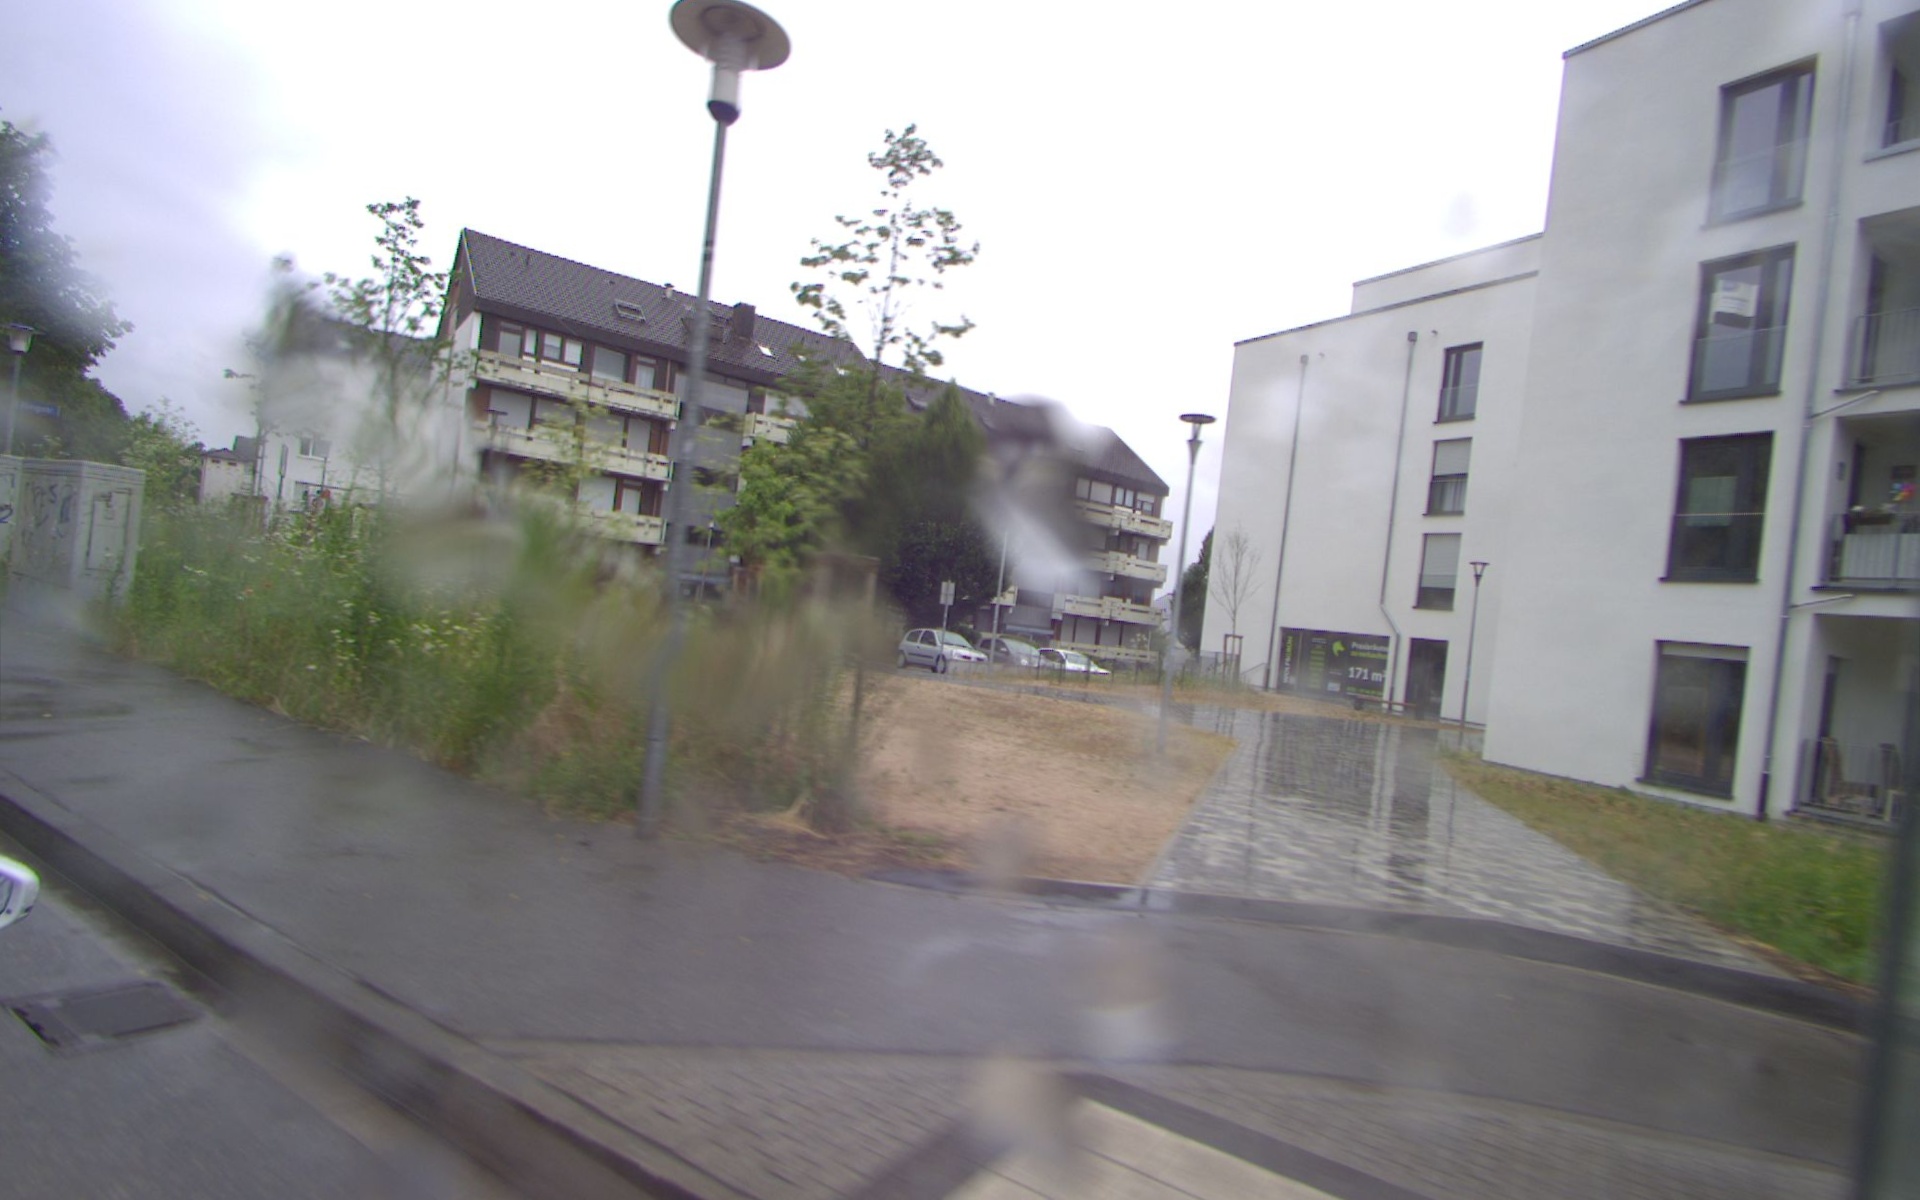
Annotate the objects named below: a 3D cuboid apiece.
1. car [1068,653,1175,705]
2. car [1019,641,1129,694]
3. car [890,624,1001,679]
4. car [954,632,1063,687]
[{"bbox_3d":[5.840,2.863,36.695,1.707,1.457,3.674,8,-4,-35],"label":"car"},{"bbox_3d":[3.930,2.337,35.102,1.707,1.457,3.674,8,-4,-35],"label":"car"},{"bbox_3d":[-0.528,1.650,32.812,1.707,1.457,3.674,8,-4,-35],"label":"car"},{"bbox_3d":[1.587,1.986,34.032,1.707,1.457,3.674,8,-4,-35],"label":"car"}]
